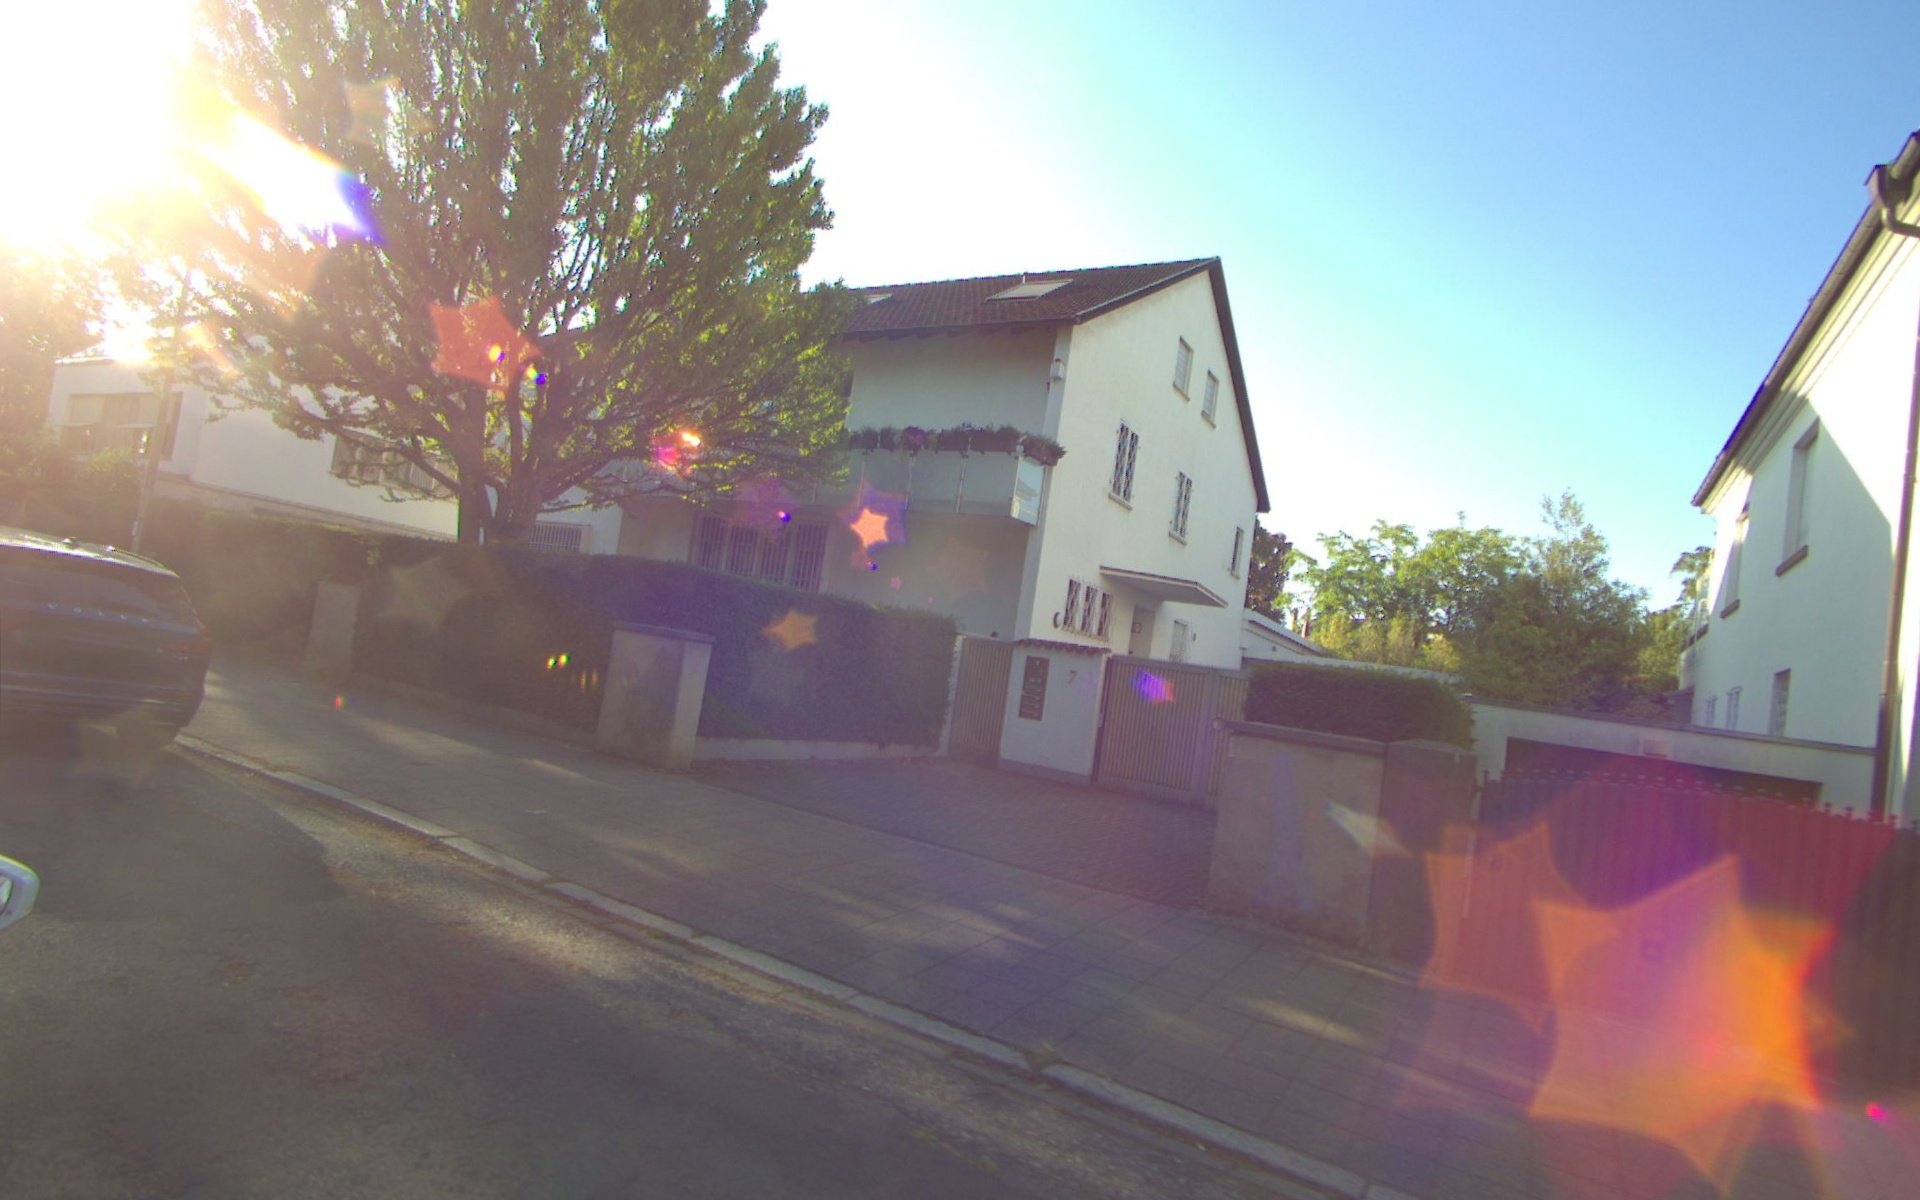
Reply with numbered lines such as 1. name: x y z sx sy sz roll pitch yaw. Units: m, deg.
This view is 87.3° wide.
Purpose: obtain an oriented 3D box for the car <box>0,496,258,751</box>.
1. car: -7.605 0.025 7.657 4.596 1.507 1.800 5 -5 30
